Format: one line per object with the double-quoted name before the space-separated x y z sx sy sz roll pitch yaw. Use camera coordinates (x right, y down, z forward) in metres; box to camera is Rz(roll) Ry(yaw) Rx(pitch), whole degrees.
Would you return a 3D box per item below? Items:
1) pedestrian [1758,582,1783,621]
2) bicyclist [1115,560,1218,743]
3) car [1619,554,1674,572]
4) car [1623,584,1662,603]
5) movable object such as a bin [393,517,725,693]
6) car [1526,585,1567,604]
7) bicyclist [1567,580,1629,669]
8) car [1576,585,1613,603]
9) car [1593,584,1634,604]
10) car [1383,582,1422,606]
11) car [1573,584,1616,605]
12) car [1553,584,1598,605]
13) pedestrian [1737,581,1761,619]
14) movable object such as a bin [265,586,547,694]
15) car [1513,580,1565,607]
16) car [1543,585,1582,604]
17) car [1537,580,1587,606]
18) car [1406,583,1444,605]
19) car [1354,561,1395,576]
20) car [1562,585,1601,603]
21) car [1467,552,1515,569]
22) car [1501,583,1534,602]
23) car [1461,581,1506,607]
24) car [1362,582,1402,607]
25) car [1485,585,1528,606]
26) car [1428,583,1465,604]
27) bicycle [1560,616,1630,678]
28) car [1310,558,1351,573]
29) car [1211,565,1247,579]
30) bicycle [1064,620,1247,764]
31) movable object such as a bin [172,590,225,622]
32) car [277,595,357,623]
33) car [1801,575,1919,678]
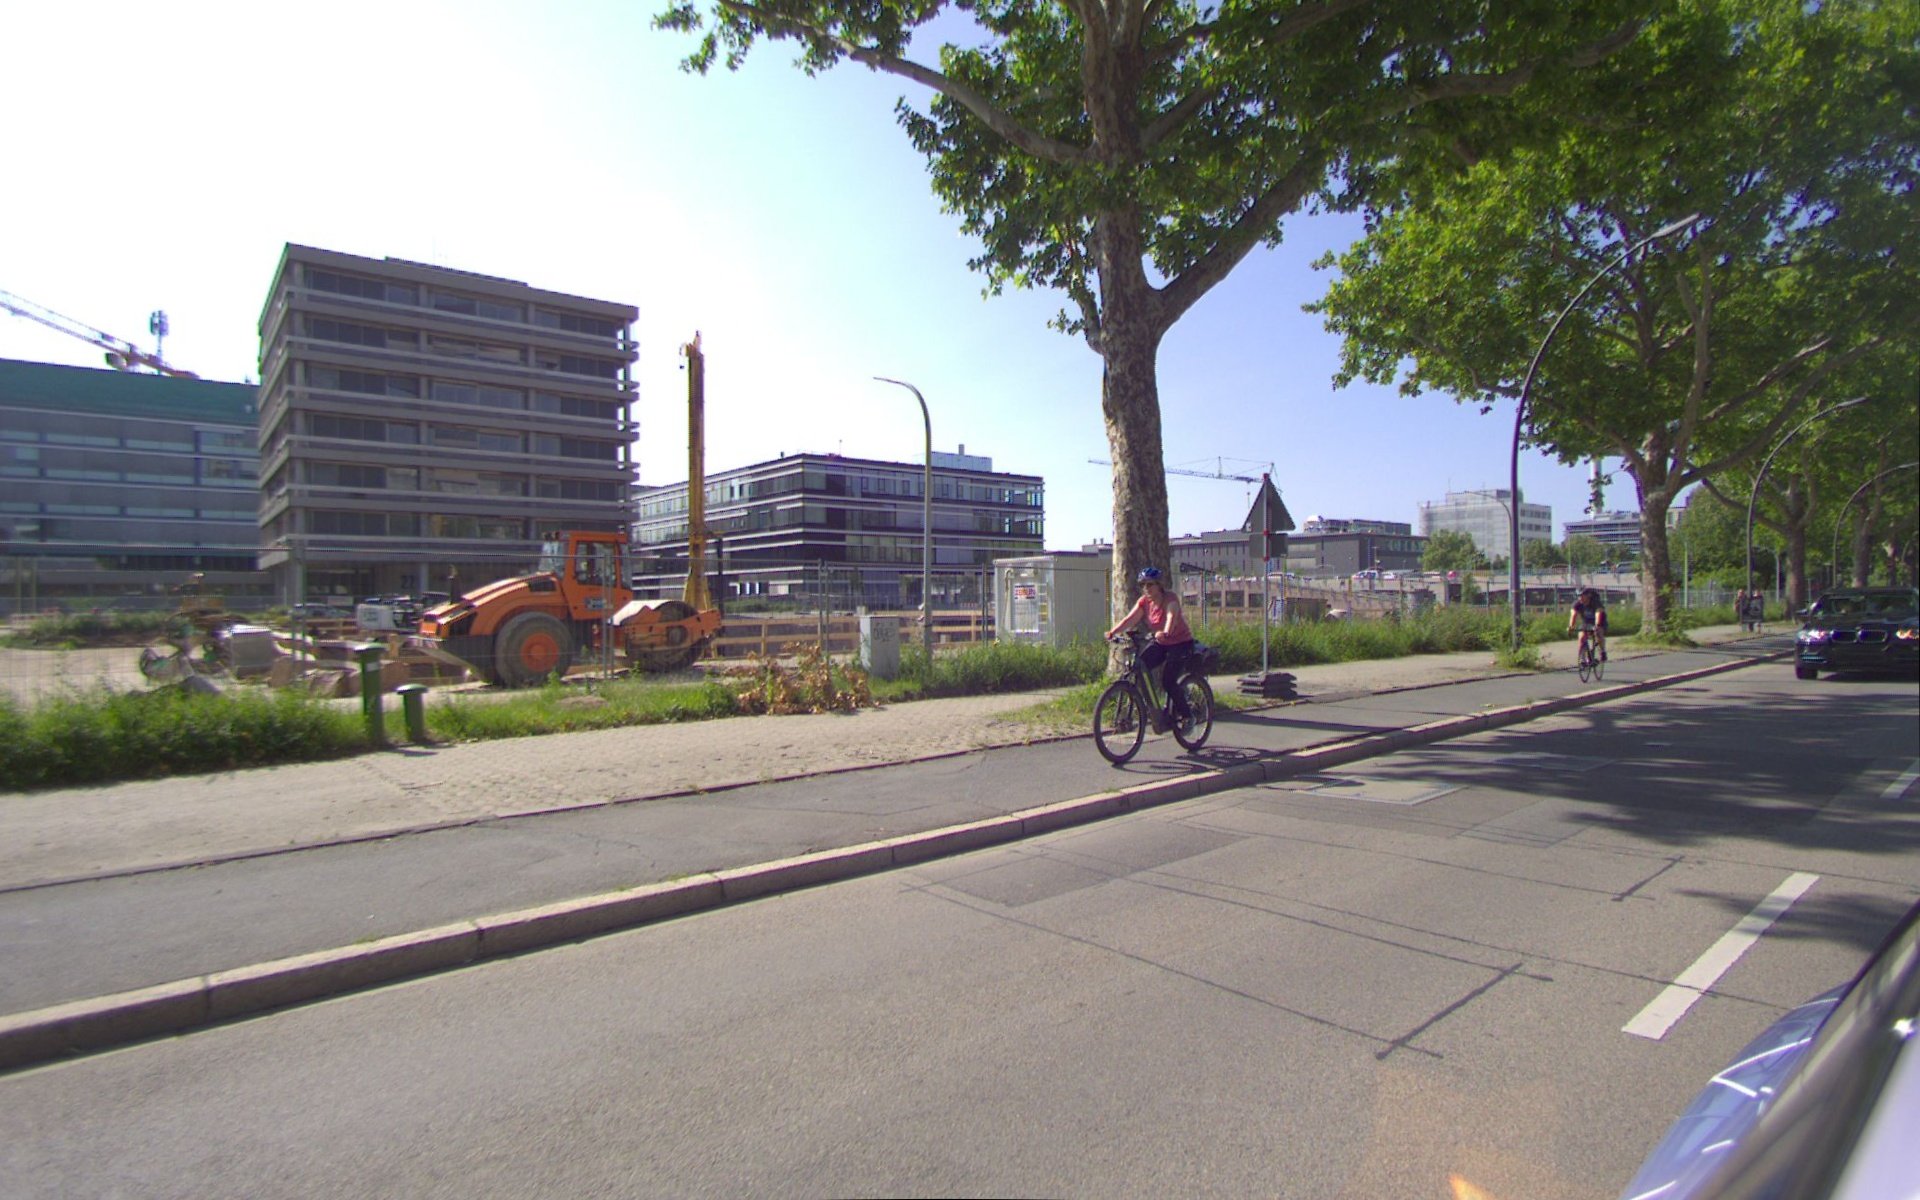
"pedestrian" 36.758 0.056 45.891 1.048 1.746 0.710 0 -1 -43
"bicyclist" 1.927 0.450 9.446 0.720 1.620 0.620 0 1 -43
"car" 65.035 -3.494 95.896 1.779 1.529 3.989 0 -1 -44
"car" 90.559 -0.855 134.273 1.779 2.352 3.989 0 -1 -44
"movable object such as a bin" -8.031 0.094 20.749 5.887 3.111 2.370 0 -1 -44
"car" 72.105 -0.648 124.413 1.779 2.352 3.989 0 -1 -44
"bicyclist" 11.332 0.419 17.971 1.194 1.508 0.599 0 2 -43
"car" 86.695 -0.844 138.369 1.779 2.352 3.989 0 -1 -44
"car" 80.703 -0.724 125.052 1.779 2.352 3.989 0 -1 -44
"car" 54.149 -0.705 123.768 1.779 2.774 3.989 0 -1 -44
"car" 75.596 -0.658 120.603 1.779 2.352 3.989 0 -1 -44
"car" 69.964 -0.581 115.041 1.779 2.352 3.989 0 -1 -44
"pedestrian" 36.374 0.005 46.647 0.943 1.705 0.696 0 -1 -43
"movable object such as a bin" -29.399 2.030 54.488 11.556 5.242 6.753 -1 0 2
"car" 60.846 -0.651 106.378 1.779 2.774 4.366 0 -1 -44
"car" 76.772 -0.711 129.015 1.779 2.352 3.989 0 -1 -44
"car" 65.985 -0.719 111.001 1.779 2.774 4.366 0 -1 -44
"car" 59.049 -0.771 128.443 1.779 2.774 3.989 0 -1 -44
"car" 47.316 -3.579 115.568 1.779 1.529 3.989 0 -1 -44
"car" 81.902 -0.777 133.399 1.779 2.352 3.989 0 -1 -44
"car" 54.475 -3.997 103.871 1.779 1.529 3.989 0 -1 -44
"car" 83.616 -1.101 151.803 1.779 2.774 3.989 0 -1 -44
"car" 57.176 -0.660 110.558 1.779 2.774 3.989 0 -1 -44
"car" 49.452 -0.639 118.657 1.779 2.774 3.989 0 -1 -44
"car" 62.200 -0.516 115.179 1.779 2.352 3.989 0 -1 -44
"car" 64.013 -0.838 133.111 1.779 2.774 3.989 0 -1 -44
"bicycle" 11.245 0.804 17.906 1.751 0.992 0.598 0 2 -43
"car" 42.728 -3.964 116.778 1.779 1.529 3.989 0 -1 -44
"car" 33.695 -3.510 126.884 1.779 1.529 3.989 0 -1 -44
"bicycle" 1.849 0.796 9.398 1.912 1.143 0.652 -1 1 -42
"movable object such as a bin" -51.250 0.389 68.088 2.623 2.039 2.754 -1 0 -42
"car" -42.990 0.567 67.731 4.356 1.794 1.795 -1 0 -40
"car" 17.577 0.447 19.143 4.080 1.752 1.922 -1 -1 -41
